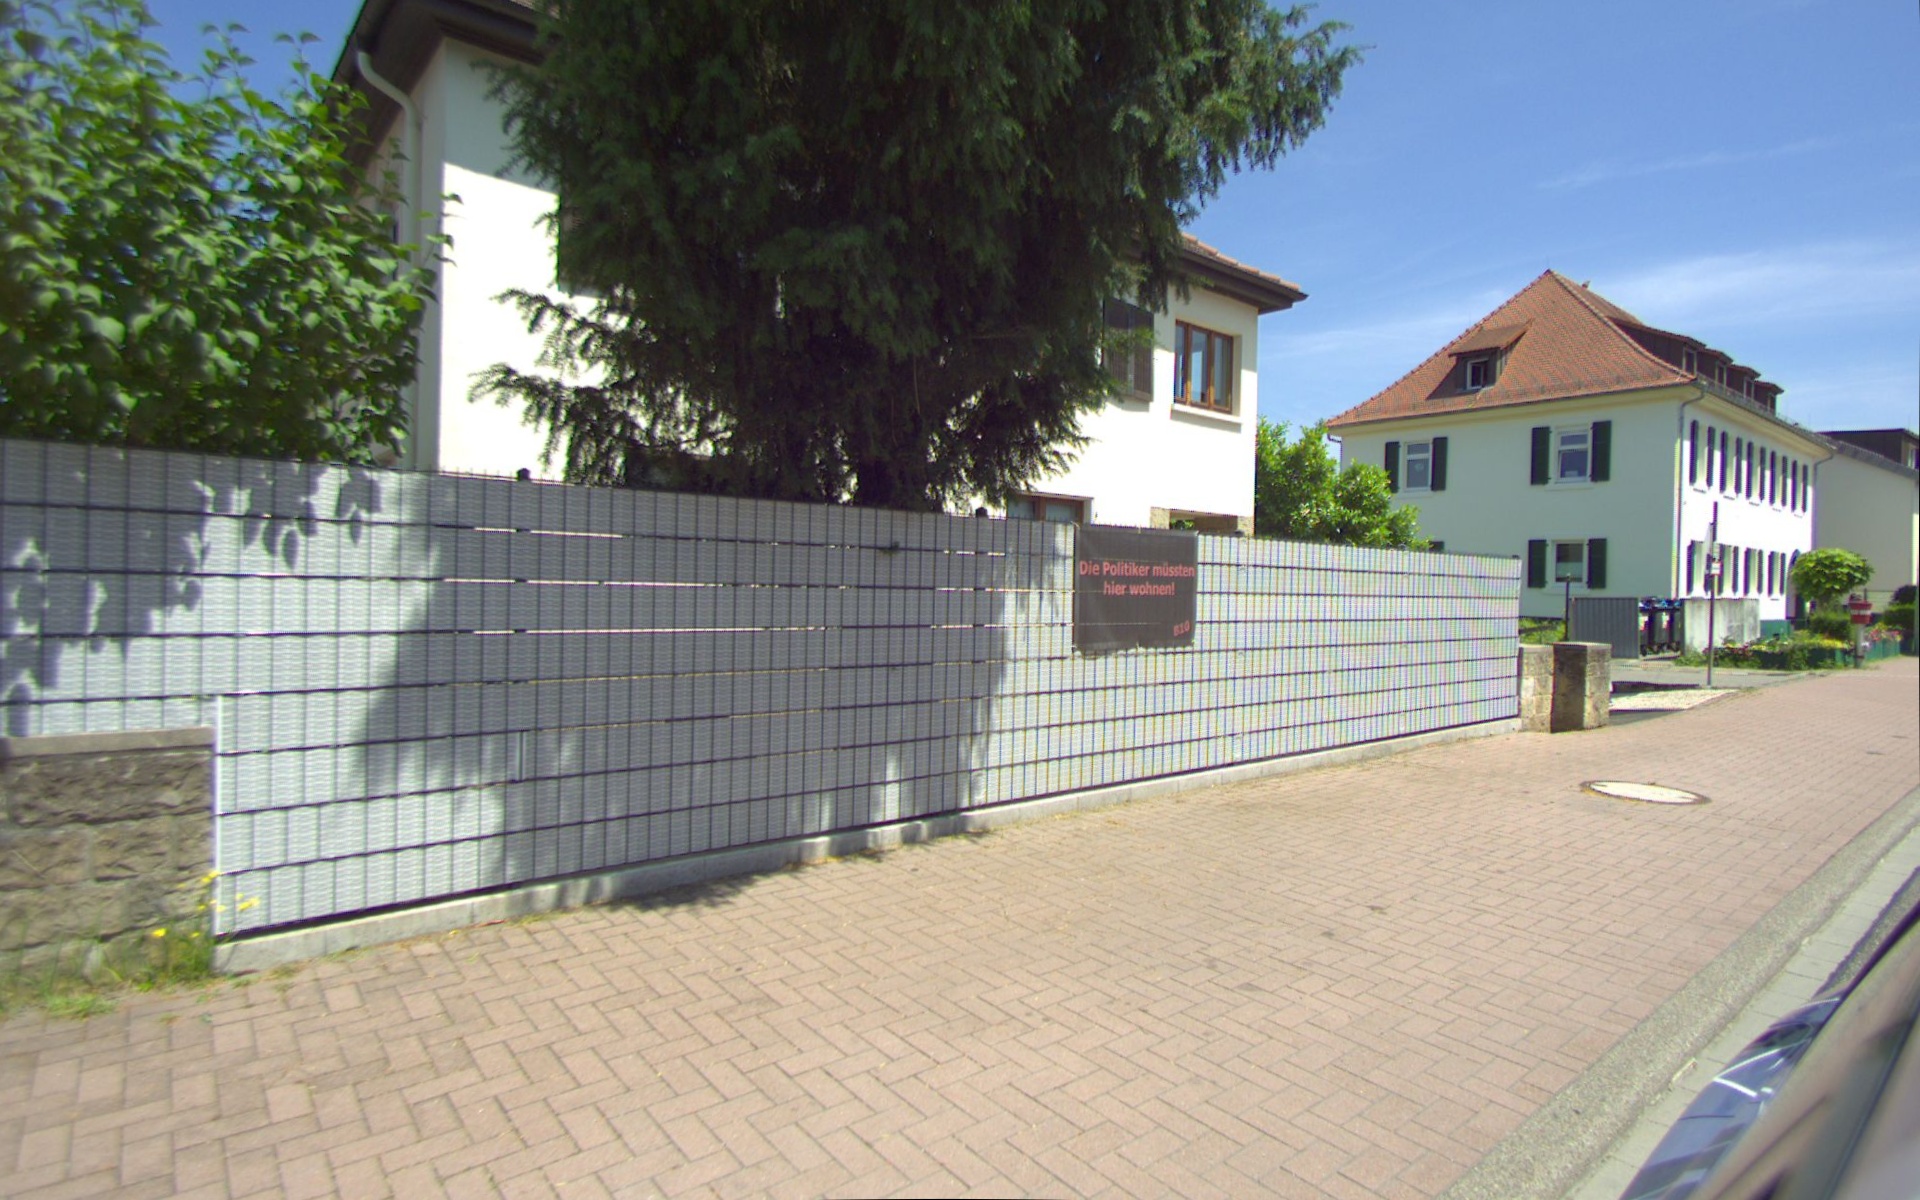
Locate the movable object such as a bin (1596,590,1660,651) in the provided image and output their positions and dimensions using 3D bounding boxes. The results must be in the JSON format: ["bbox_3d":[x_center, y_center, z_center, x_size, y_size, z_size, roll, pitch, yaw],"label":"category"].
[{"bbox_3d":[16.267,0.501,24.664,0.884,1.449,1.052,0,-2,-38],"label":"movable object such as a bin"}]

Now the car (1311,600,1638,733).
[{"bbox_3d":[7.604,1.077,15.336,1.606,1.572,3.965,0,-9,-37],"label":"car"}]
